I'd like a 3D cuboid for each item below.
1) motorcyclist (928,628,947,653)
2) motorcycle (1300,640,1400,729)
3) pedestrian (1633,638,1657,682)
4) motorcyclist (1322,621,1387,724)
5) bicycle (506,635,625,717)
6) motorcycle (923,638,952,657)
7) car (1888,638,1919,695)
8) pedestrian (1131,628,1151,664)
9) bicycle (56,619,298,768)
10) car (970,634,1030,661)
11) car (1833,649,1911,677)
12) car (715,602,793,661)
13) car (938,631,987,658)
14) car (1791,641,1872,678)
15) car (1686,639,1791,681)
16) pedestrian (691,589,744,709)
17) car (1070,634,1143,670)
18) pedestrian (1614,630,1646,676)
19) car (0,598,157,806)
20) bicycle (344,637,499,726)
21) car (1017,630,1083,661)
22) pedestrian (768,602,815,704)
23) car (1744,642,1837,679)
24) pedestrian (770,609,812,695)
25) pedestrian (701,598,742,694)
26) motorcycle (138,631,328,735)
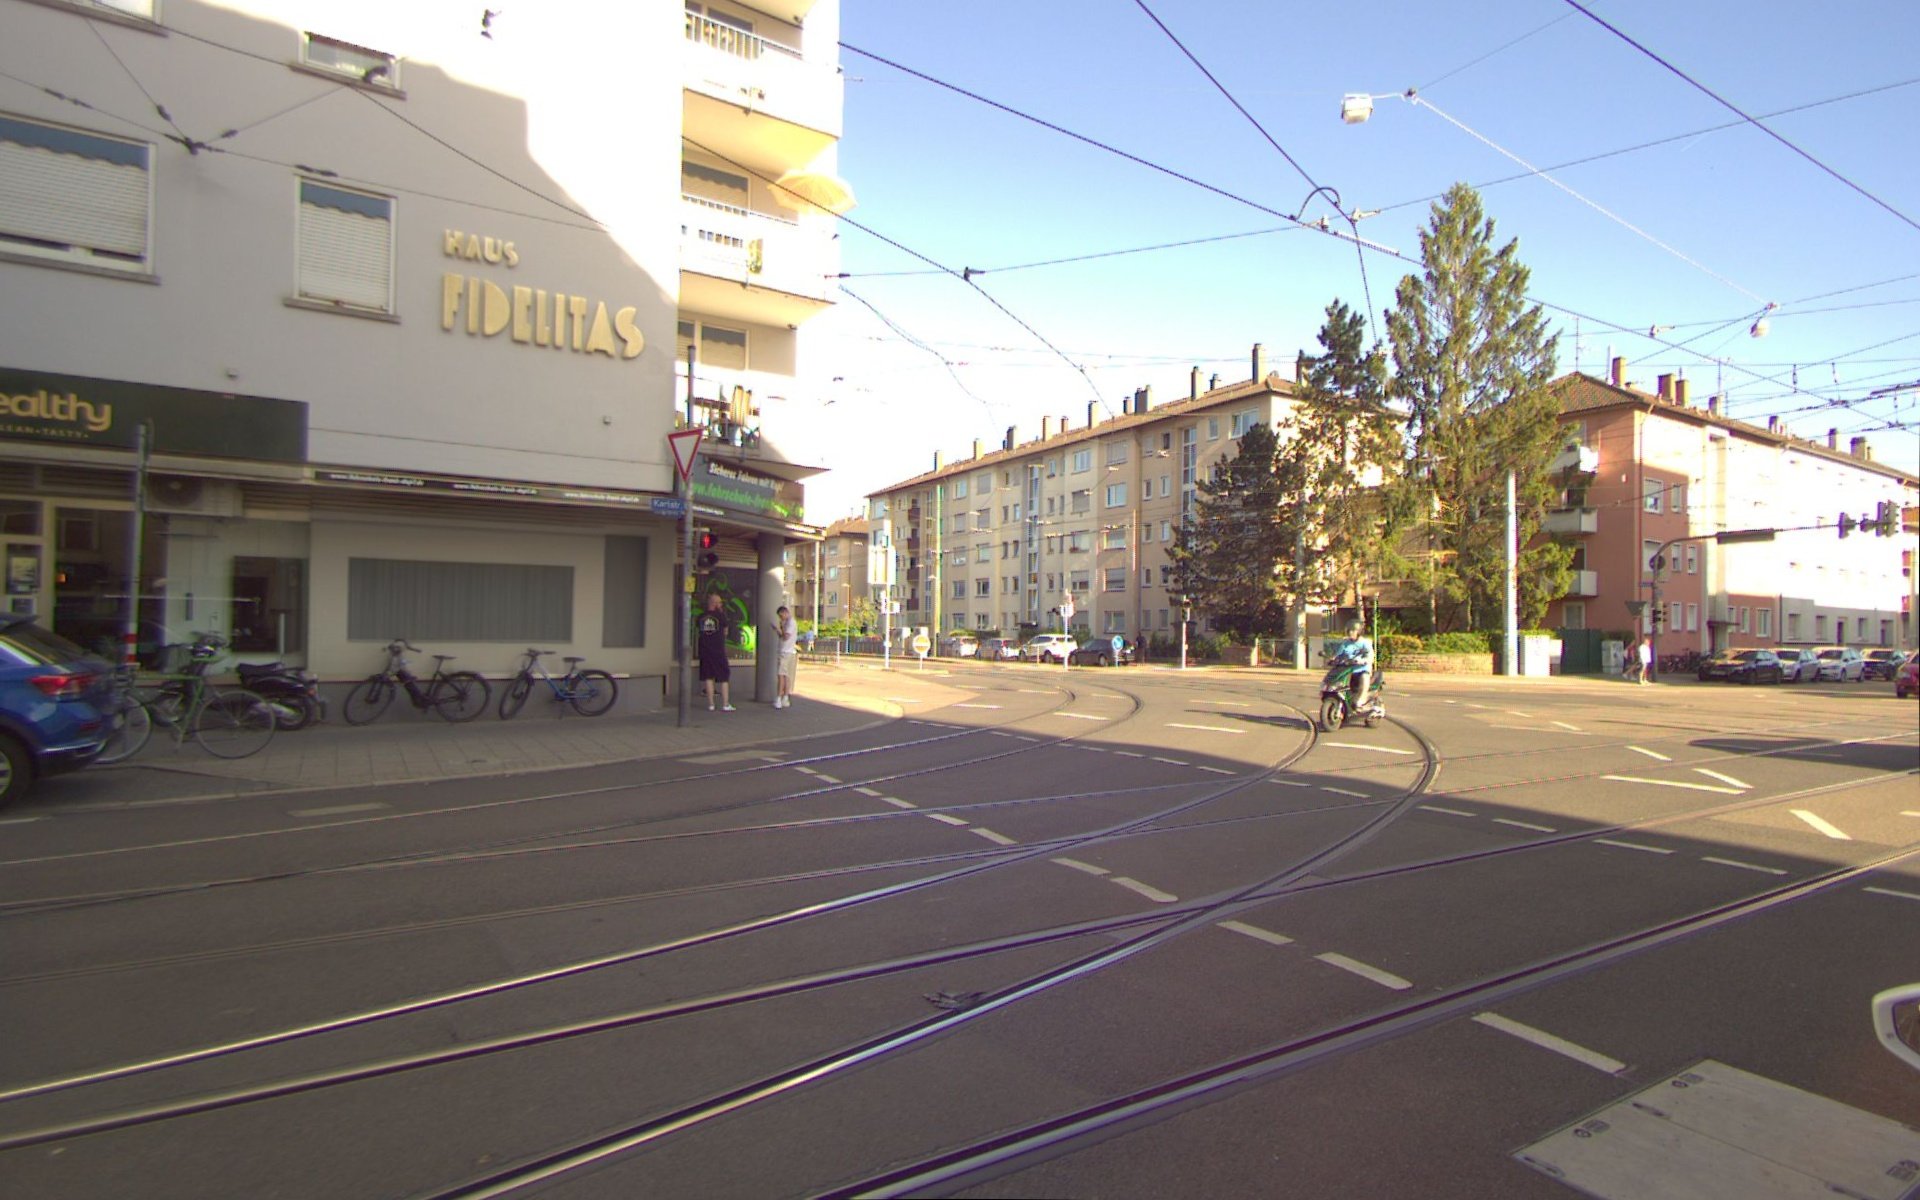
[{"bbox_3d":[-1.401,2.507,61.942,0.849,1.508,0.722,2,0,-35],"label":"motorcyclist"},{"bbox_3d":[5.916,1.271,15.178,0.704,1.236,1.954,0,-4,43],"label":"motorcycle"},{"bbox_3d":[25.438,2.212,37.321,0.567,1.589,0.513,2,0,-32],"label":"pedestrian"},{"bbox_3d":[6.000,1.093,15.269,0.686,1.516,0.680,0,-3,44],"label":"motorcyclist"},{"bbox_3d":[-5.773,1.100,14.717,1.521,1.121,0.548,2,0,-31],"label":"bicycle"},{"bbox_3d":[-1.424,2.915,61.947,0.849,1.060,1.923,2,0,-35],"label":"motorcycle"},{"bbox_3d":[27.289,1.841,27.653,3.789,1.505,1.768,3,-3,-34],"label":"car"},{"bbox_3d":[9.774,2.487,54.269,0.691,1.911,0.775,2,0,-27],"label":"pedestrian"},{"bbox_3d":[-7.587,0.886,9.850,1.777,1.332,0.603,2,0,-33],"label":"bicycle"},{"bbox_3d":[2.516,2.988,63.769,1.814,1.497,3.998,2,0,-32],"label":"car"},{"bbox_3d":[46.071,3.193,50.739,4.238,1.256,1.935,3,0,-34],"label":"car"},{"bbox_3d":[-9.869,1.450,47.828,2.313,2.551,4.819,2,0,-28],"label":"car"},{"bbox_3d":[0.138,3.007,68.310,1.643,1.578,3.757,2,0,-31],"label":"car"},{"bbox_3d":[40.661,2.783,46.826,4.184,1.546,1.731,3,0,-33],"label":"car"},{"bbox_3d":[32.201,2.503,41.521,4.396,1.450,2.141,5,-1,-34],"label":"car"},{"bbox_3d":[-4.022,0.805,16.693,0.727,1.925,0.573,4,-2,-14],"label":"pedestrian"},{"bbox_3d":[7.895,2.798,54.367,1.848,1.650,4.043,2,0,-28],"label":"car"},{"bbox_3d":[26.239,2.058,39.344,0.768,1.744,0.705,2,0,4],"label":"pedestrian"},{"bbox_3d":[-8.814,0.752,7.537,4.195,1.524,1.757,1,1,-35],"label":"car"},{"bbox_3d":[-7.222,1.073,13.508,1.777,1.103,0.603,2,0,-33],"label":"bicycle"},{"bbox_3d":[5.254,2.651,58.965,1.754,1.619,3.998,2,0,-32],"label":"car"},{"bbox_3d":[-3.086,0.949,18.360,0.653,1.816,0.733,1,-1,-26],"label":"pedestrian"},{"bbox_3d":[36.748,2.664,44.433,4.056,1.455,1.894,2,0,-31],"label":"car"},{"bbox_3d":[-3.397,1.059,20.275,0.687,1.672,0.760,3,-5,-6],"label":"pedestrian"},{"bbox_3d":[-4.752,0.908,20.025,0.593,1.880,0.513,2,0,-36],"label":"pedestrian"},{"bbox_3d":[-8.698,0.978,12.116,1.777,1.149,0.603,2,0,-33],"label":"motorcycle"}]
